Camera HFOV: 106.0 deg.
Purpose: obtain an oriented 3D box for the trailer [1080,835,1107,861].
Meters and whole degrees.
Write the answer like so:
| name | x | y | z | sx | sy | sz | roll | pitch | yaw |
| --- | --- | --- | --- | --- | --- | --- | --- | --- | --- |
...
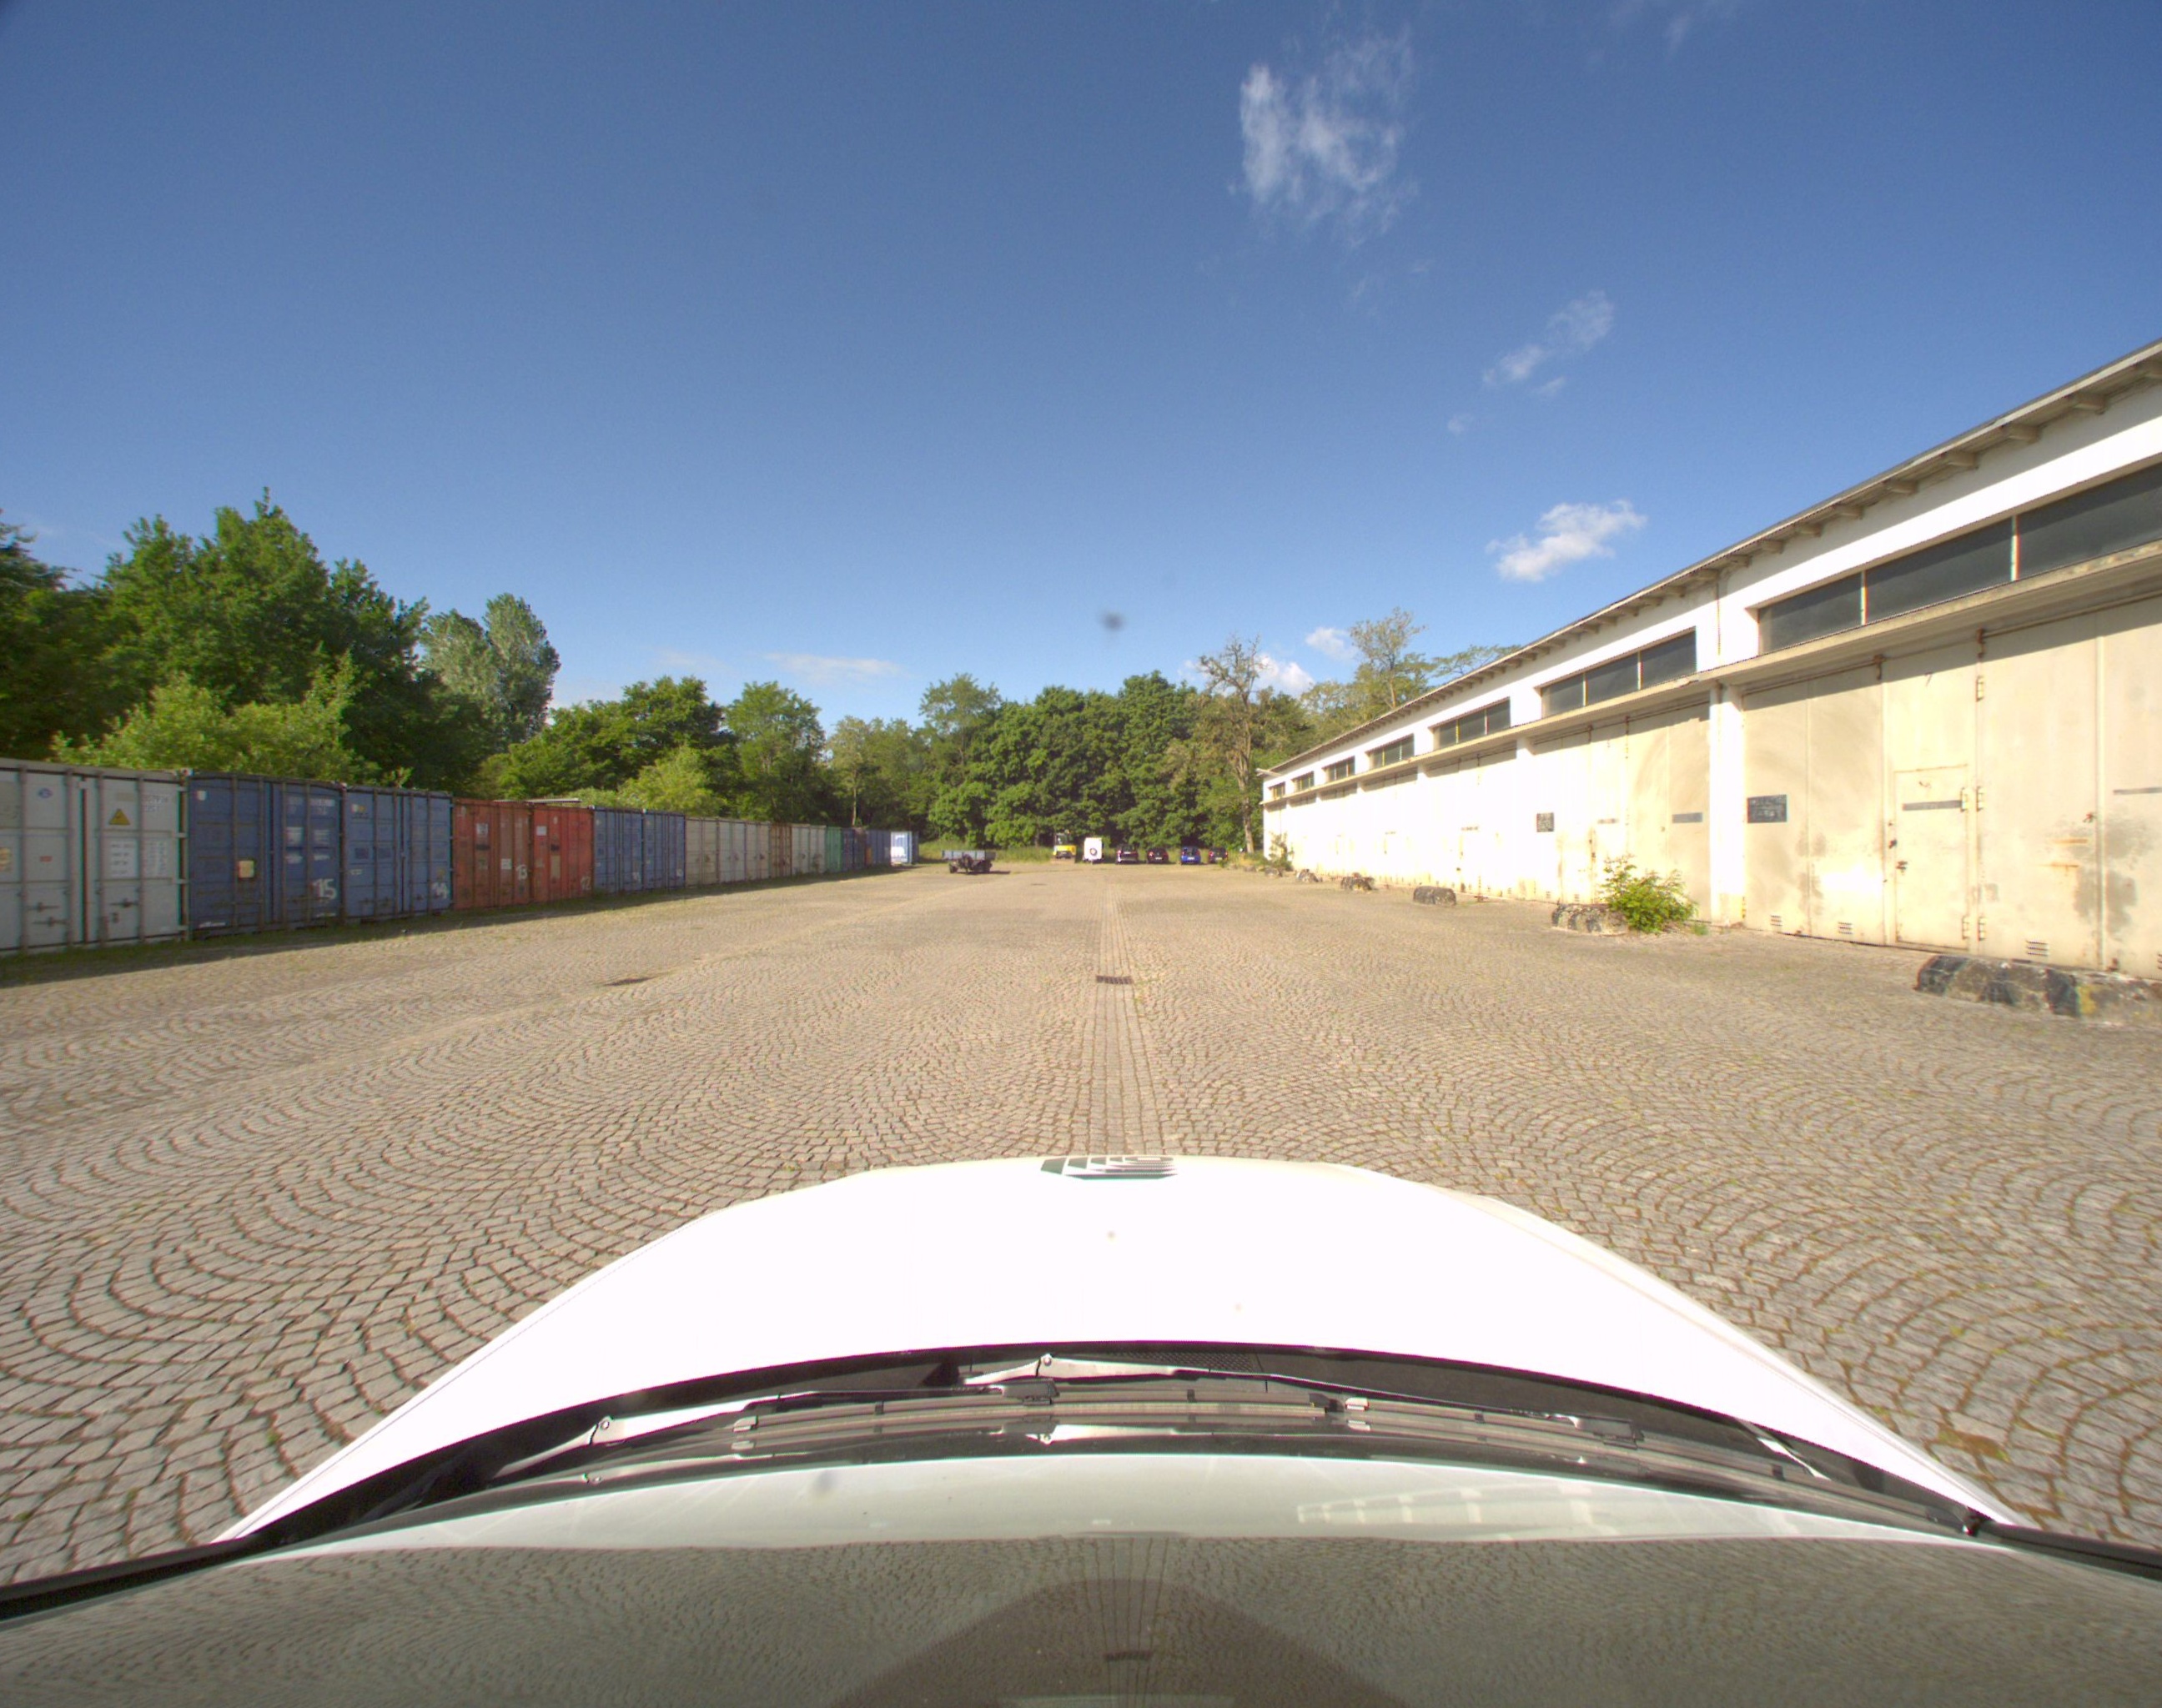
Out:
| name | x | y | z | sx | sy | sz | roll | pitch | yaw |
| --- | --- | --- | --- | --- | --- | --- | --- | --- | --- |
| trailer | 1.067 | -0.549 | 68.594 | 2.185 | 2.094 | 5.753 | 1 | 2 | 1 |

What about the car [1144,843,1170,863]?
| name | x | y | z | sx | sy | sz | roll | pitch | yaw |
| --- | --- | --- | --- | --- | --- | --- | --- | --- | --- |
| car | 6.183 | -0.129 | 66.492 | 1.857 | 1.470 | 4.297 | 1 | 2 | 1 |

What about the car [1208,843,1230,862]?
| name | x | y | z | sx | sy | sz | roll | pitch | yaw |
| --- | --- | --- | --- | --- | --- | --- | --- | --- | --- |
| car | 11.426 | -0.131 | 67.746 | 1.734 | 1.436 | 4.193 | 1 | 2 | 8 |

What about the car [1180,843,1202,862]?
| name | x | y | z | sx | sy | sz | roll | pitch | yaw |
| --- | --- | --- | --- | --- | --- | --- | --- | --- | --- |
| car | 8.940 | -0.145 | 66.380 | 1.735 | 1.436 | 4.191 | 1 | 2 | 7 |

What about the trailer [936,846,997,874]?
| name | x | y | z | sx | sy | sz | roll | pitch | yaw |
| --- | --- | --- | --- | --- | --- | --- | --- | --- | --- |
| trailer | -6.731 | 0.286 | 48.639 | 2.696 | 1.465 | 6.247 | 1 | 1 | 0 |

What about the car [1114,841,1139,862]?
| name | x | y | z | sx | sy | sz | roll | pitch | yaw |
| --- | --- | --- | --- | --- | --- | --- | --- | --- | --- |
| car | 3.691 | -0.216 | 66.168 | 1.857 | 1.589 | 4.297 | 1 | 2 | 1 |

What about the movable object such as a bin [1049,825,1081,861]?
| name | x | y | z | sx | sy | sz | roll | pitch | yaw |
| --- | --- | --- | --- | --- | --- | --- | --- | --- | --- |
| movable object such as a bin | -1.287 | -0.969 | 69.228 | 2.297 | 2.896 | 5.755 | 1 | 2 | 2 |
